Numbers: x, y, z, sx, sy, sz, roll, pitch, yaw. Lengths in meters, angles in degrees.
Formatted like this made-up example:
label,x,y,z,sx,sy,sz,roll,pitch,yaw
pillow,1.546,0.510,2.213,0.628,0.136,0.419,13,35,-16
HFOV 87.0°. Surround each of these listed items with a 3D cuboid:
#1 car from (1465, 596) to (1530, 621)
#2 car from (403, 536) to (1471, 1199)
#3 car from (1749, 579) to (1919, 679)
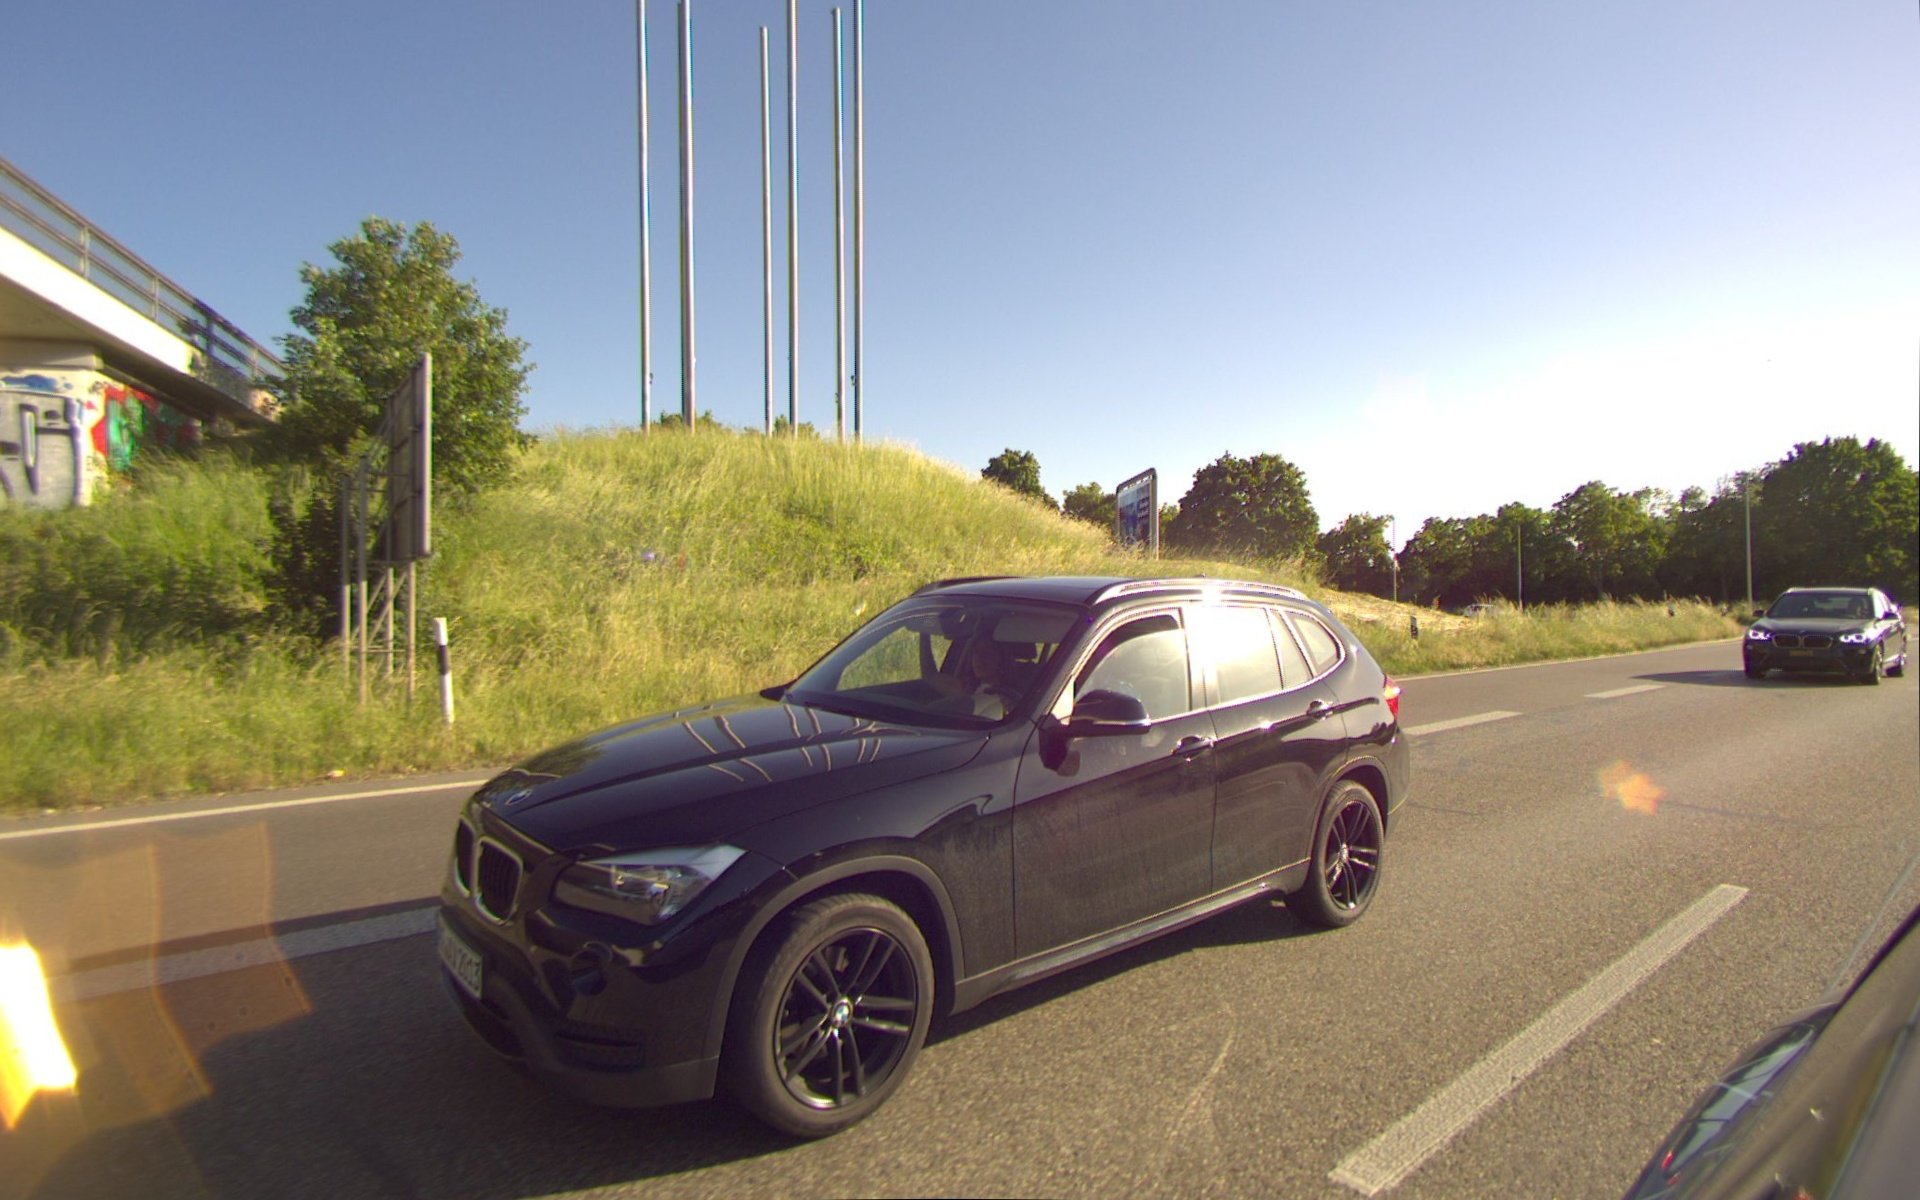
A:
label,x,y,z,sx,sy,sz,roll,pitch,yaw
car,39.828,0.619,75.041,1.830,1.712,4.008,0,1,-23
car,0.321,0.590,4.317,4.498,1.525,1.702,0,1,-40
car,15.934,0.425,18.250,4.440,1.592,1.759,-1,1,-39
